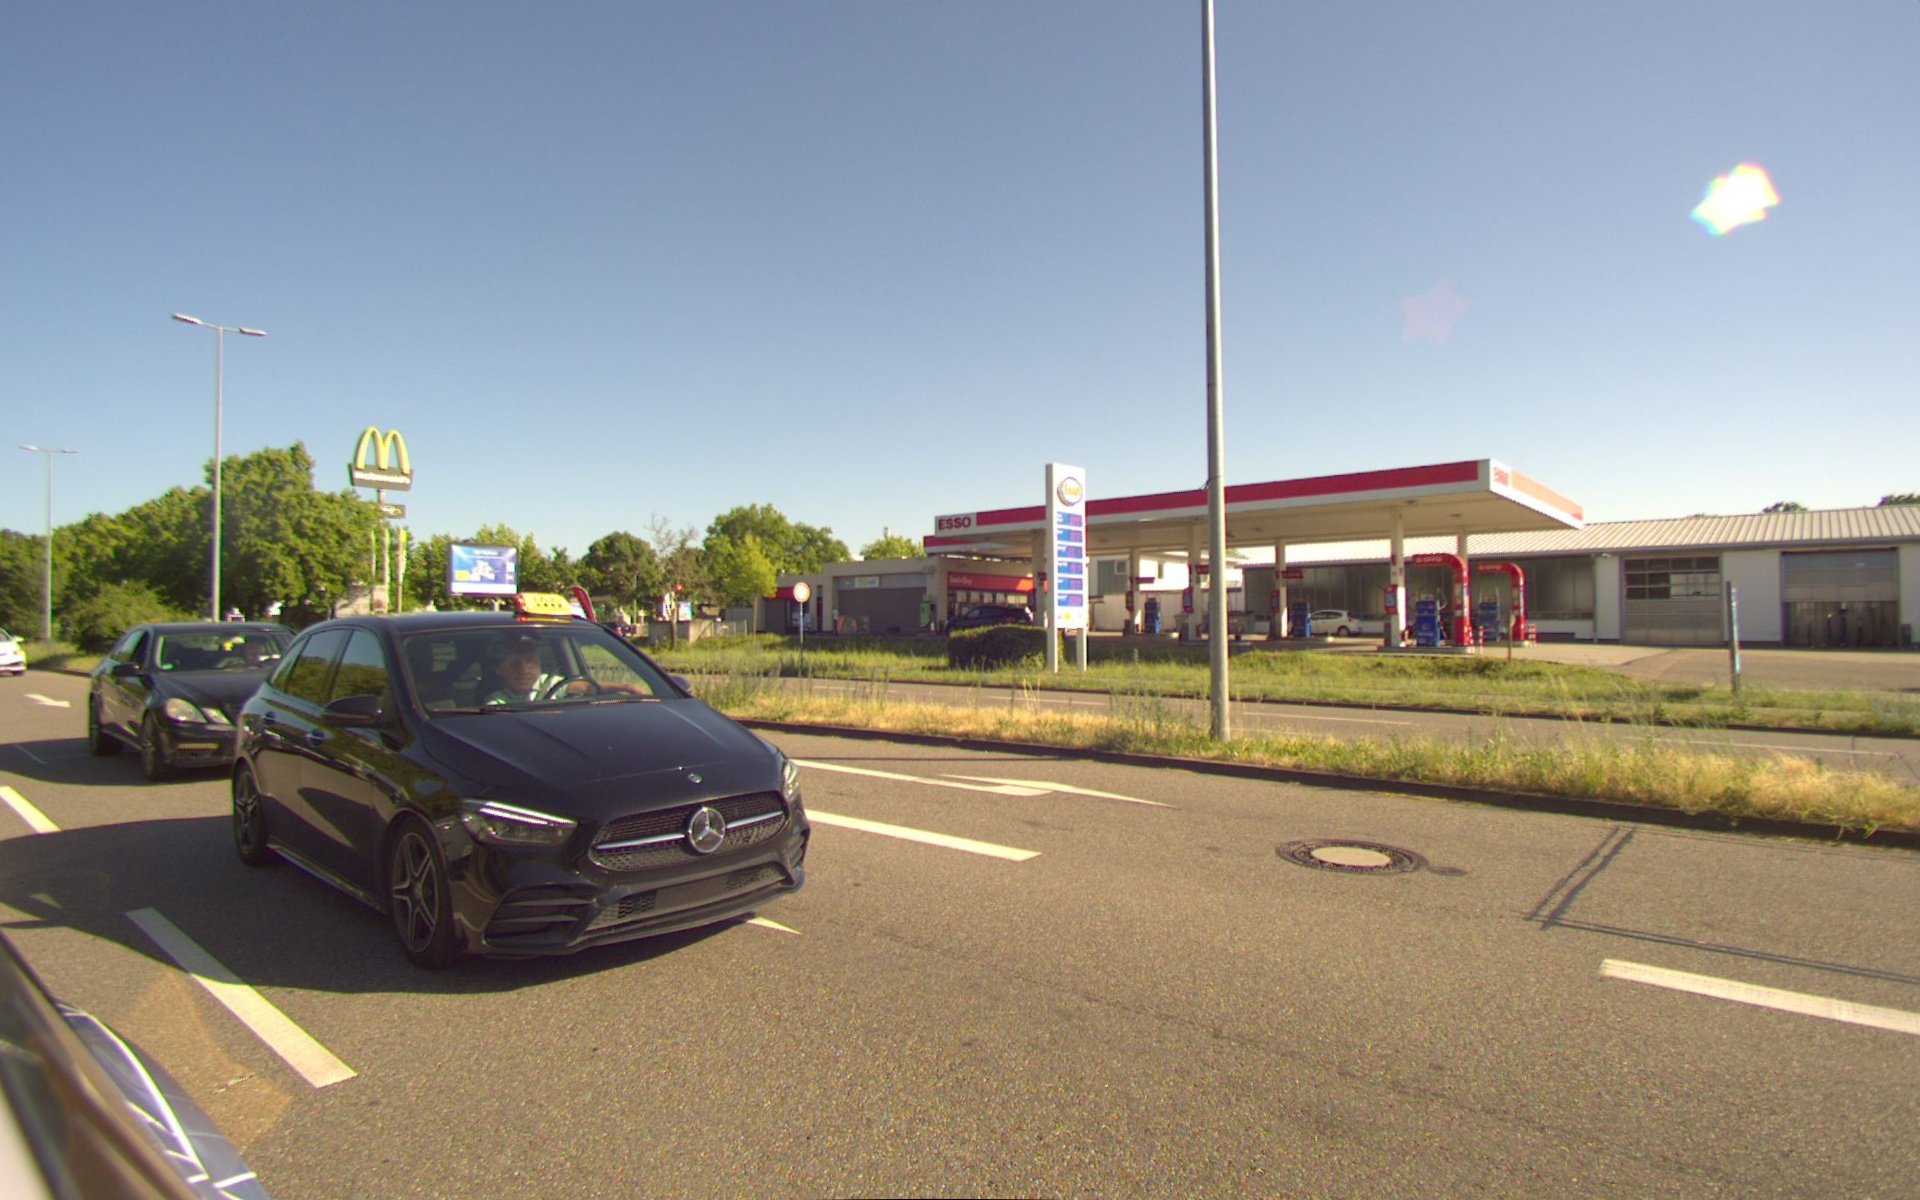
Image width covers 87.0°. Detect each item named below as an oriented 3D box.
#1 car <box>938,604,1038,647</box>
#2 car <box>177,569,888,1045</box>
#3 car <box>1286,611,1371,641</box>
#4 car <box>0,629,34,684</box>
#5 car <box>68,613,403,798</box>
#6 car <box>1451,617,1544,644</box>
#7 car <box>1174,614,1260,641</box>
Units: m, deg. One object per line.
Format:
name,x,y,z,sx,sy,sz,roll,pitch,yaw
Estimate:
car,1.213,1.137,45.238,4.322,1.739,1.783,-1,2,43
car,-2.654,0.752,5.606,4.579,1.614,1.765,-2,-1,40
car,19.976,1.379,54.933,3.855,1.500,1.973,-1,0,41
car,-28.257,1.610,28.898,3.993,1.453,1.975,-1,0,37
car,-7.811,0.921,10.741,4.461,1.521,1.928,-1,0,41
car,26.217,1.462,49.432,3.729,1.196,1.658,-1,0,41
car,15.135,1.604,59.785,4.540,1.477,1.973,-1,0,41
